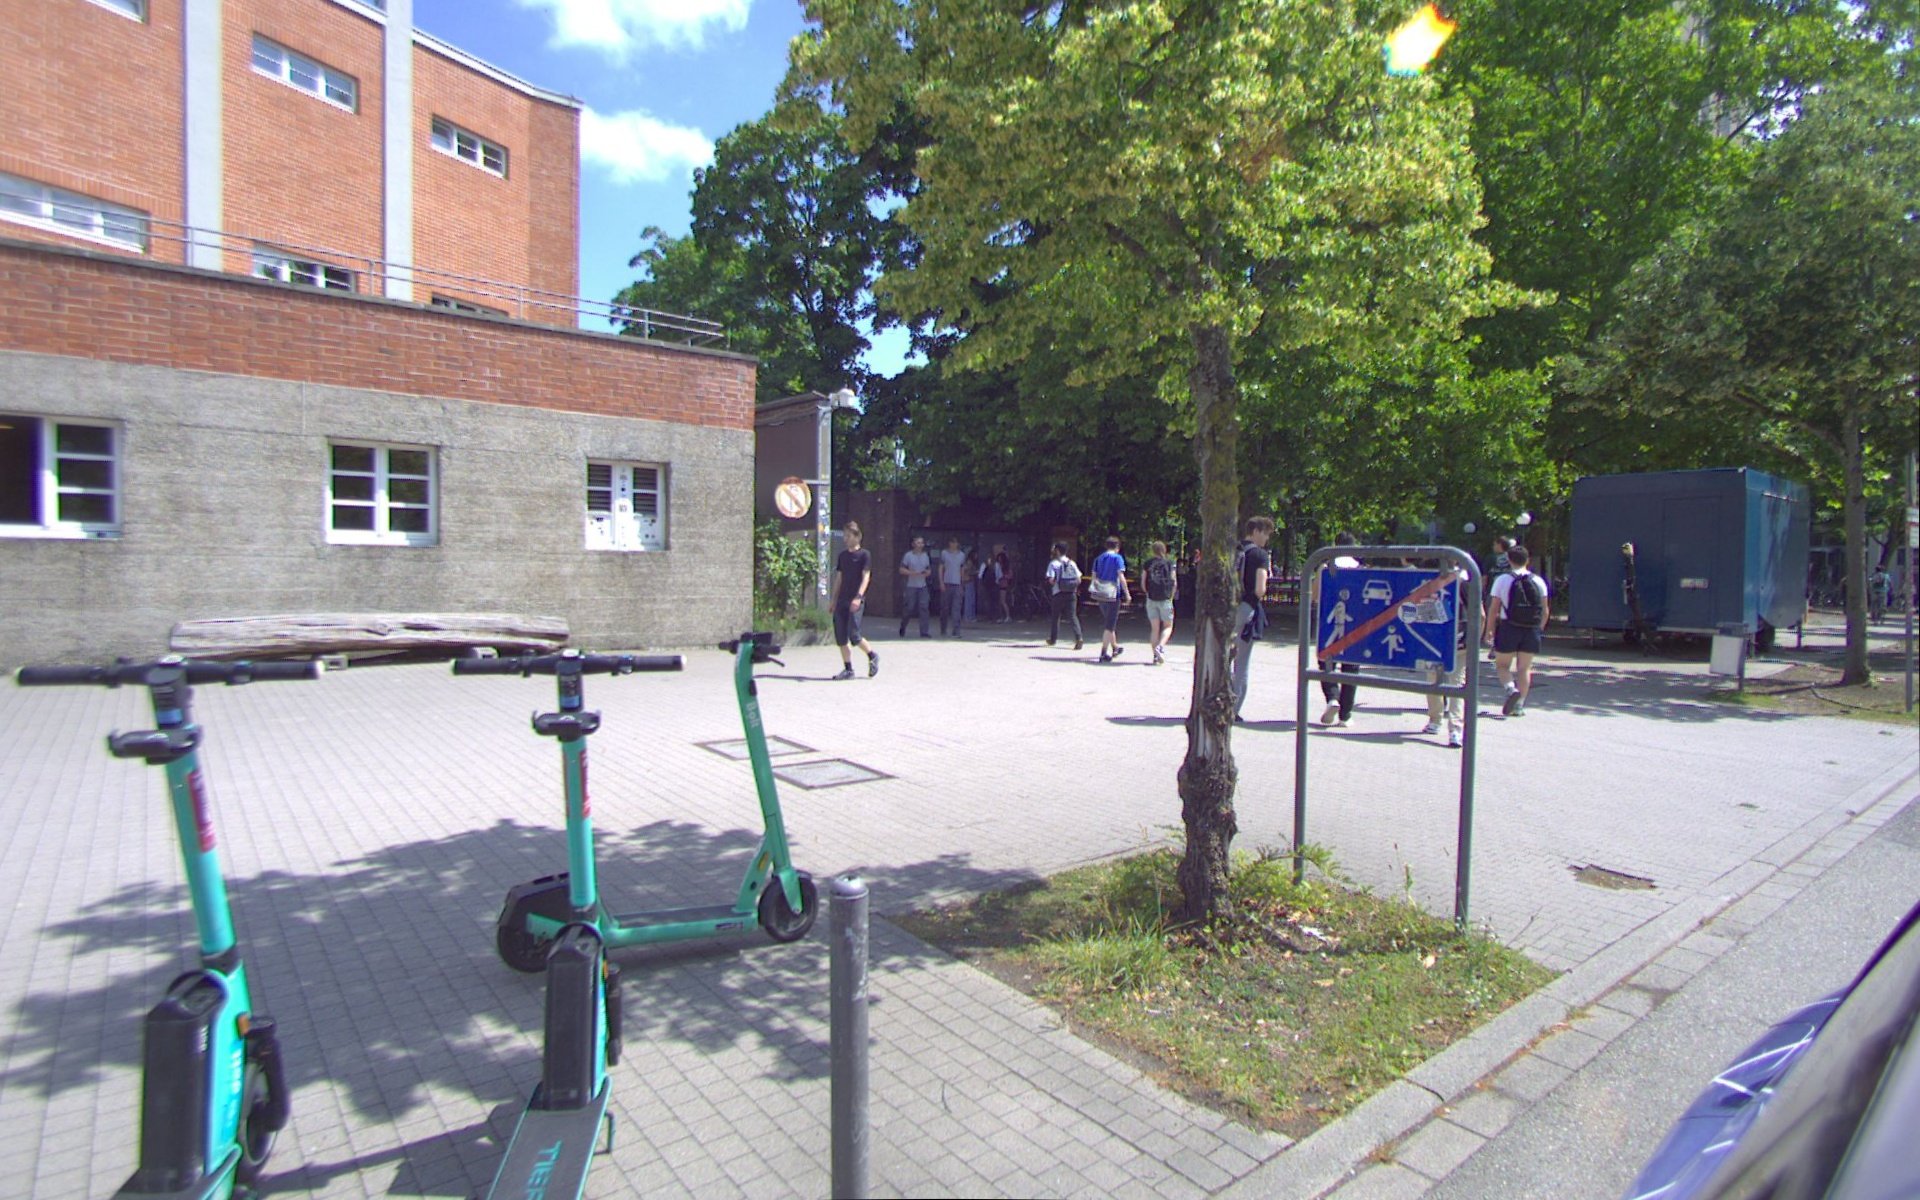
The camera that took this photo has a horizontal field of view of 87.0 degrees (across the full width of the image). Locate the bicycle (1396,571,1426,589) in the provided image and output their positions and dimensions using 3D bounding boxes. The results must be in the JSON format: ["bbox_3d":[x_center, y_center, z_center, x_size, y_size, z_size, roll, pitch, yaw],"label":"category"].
[{"bbox_3d":[27.728,-1.209,62.184,1.654,1.097,0.479,0,-1,-7],"label":"bicycle"}]

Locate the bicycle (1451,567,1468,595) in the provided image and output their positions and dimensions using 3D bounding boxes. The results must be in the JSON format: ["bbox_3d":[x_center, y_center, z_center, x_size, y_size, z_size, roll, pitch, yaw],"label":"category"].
[{"bbox_3d":[23.489,-0.907,47.594,0.527,1.267,1.719,4,3,30],"label":"bicycle"}]

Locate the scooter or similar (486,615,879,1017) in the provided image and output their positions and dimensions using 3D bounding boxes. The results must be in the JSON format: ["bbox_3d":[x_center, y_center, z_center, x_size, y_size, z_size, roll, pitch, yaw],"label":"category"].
[{"bbox_3d":[-0.990,0.661,3.596,1.238,1.174,0.652,0,2,-24],"label":"scooter or similar"}]

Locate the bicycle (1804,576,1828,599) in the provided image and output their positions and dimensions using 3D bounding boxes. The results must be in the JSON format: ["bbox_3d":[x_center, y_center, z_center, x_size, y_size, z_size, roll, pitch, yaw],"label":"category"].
[{"bbox_3d":[44.511,-0.643,52.612,1.663,1.099,0.482,2,2,-34],"label":"bicycle"}]

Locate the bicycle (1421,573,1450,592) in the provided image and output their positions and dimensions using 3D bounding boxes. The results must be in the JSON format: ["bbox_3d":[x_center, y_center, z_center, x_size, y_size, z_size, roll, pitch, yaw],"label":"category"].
[{"bbox_3d":[27.618,-0.988,58.792,1.444,1.097,0.352,0,-1,2],"label":"bicycle"}]

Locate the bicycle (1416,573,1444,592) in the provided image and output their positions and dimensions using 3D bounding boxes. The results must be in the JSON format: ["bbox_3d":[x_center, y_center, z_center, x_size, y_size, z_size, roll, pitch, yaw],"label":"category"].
[{"bbox_3d":[27.630,-1.034,59.515,1.444,1.097,0.352,0,-1,2],"label":"bicycle"}]

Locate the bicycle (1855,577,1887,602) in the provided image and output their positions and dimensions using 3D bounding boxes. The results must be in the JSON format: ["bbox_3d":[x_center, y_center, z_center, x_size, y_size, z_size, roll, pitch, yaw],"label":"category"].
[{"bbox_3d":[45.790,-0.526,50.861,1.494,1.155,0.493,2,2,-20],"label":"bicycle"}]

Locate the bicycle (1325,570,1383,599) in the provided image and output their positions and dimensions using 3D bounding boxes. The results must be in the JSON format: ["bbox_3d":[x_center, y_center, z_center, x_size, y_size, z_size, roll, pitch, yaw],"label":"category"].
[{"bbox_3d":[14.760,-0.607,37.938,1.945,0.991,0.606,3,3,32],"label":"bicycle"}]

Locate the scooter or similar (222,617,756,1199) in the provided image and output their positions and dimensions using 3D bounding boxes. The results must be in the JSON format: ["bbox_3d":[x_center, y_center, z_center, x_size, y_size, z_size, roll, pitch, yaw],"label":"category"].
[{"bbox_3d":[-0.799,0.713,2.085,0.637,1.280,1.267,1,2,-7],"label":"scooter or similar"}]

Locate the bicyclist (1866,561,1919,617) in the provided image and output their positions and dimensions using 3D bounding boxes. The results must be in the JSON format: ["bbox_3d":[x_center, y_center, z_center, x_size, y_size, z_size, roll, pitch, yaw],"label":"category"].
[{"bbox_3d":[27.537,-0.325,29.889,1.171,1.585,0.654,0,4,-25],"label":"bicyclist"}]

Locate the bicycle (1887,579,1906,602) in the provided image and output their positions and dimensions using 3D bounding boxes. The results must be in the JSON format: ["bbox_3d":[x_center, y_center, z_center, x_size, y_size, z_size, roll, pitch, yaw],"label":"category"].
[{"bbox_3d":[51.874,-0.538,56.048,1.798,1.257,0.531,-2,3,-40],"label":"bicycle"}]

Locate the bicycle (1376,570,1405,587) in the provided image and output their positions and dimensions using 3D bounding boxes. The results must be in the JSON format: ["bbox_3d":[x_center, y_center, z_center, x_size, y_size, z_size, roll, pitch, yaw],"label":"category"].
[{"bbox_3d":[27.640,-1.389,64.938,1.656,1.097,0.478,0,-1,0],"label":"bicycle"}]

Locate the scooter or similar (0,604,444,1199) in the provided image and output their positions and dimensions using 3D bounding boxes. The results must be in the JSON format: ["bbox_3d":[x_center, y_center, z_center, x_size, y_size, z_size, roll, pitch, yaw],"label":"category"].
[{"bbox_3d":[-1.463,0.679,1.738,0.637,1.280,1.267,1,2,-7],"label":"scooter or similar"}]

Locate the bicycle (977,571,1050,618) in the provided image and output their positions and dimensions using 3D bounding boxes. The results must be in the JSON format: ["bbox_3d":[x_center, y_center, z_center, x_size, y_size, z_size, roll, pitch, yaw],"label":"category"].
[{"bbox_3d":[1.328,-0.168,25.556,0.767,1.085,2.409,-1,2,-26],"label":"bicycle"}]

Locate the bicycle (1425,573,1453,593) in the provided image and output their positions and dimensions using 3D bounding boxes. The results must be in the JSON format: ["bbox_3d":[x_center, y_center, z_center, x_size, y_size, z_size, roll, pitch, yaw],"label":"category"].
[{"bbox_3d":[27.372,-0.971,57.806,1.442,1.097,0.353,0,-1,-5],"label":"bicycle"}]

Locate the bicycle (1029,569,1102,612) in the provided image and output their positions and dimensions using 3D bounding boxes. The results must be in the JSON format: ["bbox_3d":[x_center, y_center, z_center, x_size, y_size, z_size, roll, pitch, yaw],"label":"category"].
[{"bbox_3d":[2.776,-0.262,26.998,0.767,1.085,2.408,-1,1,-27],"label":"bicycle"}]

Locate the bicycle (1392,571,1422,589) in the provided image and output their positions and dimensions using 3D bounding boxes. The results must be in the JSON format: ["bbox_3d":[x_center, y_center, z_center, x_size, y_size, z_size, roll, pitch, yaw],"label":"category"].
[{"bbox_3d":[27.668,-1.244,62.666,1.654,1.097,0.479,0,-1,-7],"label":"bicycle"}]

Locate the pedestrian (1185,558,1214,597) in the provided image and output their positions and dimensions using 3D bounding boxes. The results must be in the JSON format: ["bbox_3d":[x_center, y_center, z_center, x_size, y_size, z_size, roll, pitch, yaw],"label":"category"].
[{"bbox_3d":[8.344,-0.783,35.264,0.612,1.286,0.667,0,4,-43],"label":"pedestrian"}]

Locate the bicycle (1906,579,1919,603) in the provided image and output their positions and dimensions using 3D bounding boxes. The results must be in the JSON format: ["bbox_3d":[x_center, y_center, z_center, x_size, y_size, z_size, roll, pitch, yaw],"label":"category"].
[{"bbox_3d":[46.866,-0.453,49.592,1.464,1.155,0.561,-1,4,-42],"label":"bicycle"}]

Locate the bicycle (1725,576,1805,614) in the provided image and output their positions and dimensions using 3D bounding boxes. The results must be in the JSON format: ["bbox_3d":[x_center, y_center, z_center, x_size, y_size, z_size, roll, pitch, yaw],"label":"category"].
[{"bbox_3d":[26.406,-0.180,33.221,2.012,1.181,0.642,3,2,40],"label":"bicycle"}]

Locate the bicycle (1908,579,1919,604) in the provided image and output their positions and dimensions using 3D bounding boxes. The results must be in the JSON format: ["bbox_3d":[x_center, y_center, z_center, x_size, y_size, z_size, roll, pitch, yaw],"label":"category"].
[{"bbox_3d":[46.702,-0.384,48.617,1.750,1.155,0.607,1,3,-6],"label":"bicycle"}]

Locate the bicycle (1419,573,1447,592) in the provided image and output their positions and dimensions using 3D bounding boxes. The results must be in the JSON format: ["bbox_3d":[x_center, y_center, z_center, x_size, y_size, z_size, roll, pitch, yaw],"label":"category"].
[{"bbox_3d":[27.621,-1.011,59.149,1.444,1.097,0.352,0,-1,2],"label":"bicycle"}]

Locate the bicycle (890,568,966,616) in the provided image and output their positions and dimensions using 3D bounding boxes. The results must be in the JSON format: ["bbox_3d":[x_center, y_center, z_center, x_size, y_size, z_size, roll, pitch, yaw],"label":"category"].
[{"bbox_3d":[-0.794,-0.212,25.575,1.990,1.154,0.575,-1,2,-40],"label":"bicycle"}]

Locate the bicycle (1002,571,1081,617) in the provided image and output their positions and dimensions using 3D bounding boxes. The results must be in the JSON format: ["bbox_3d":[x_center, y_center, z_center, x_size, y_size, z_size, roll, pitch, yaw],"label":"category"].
[{"bbox_3d":[2.065,-0.186,26.067,0.767,1.085,2.406,-1,3,-32],"label":"bicycle"}]

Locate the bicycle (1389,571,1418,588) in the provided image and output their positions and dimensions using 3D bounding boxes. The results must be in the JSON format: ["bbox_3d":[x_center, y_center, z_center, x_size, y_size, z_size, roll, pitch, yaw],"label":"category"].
[{"bbox_3d":[27.819,-1.289,63.495,1.654,1.097,0.479,0,-1,-7],"label":"bicycle"}]

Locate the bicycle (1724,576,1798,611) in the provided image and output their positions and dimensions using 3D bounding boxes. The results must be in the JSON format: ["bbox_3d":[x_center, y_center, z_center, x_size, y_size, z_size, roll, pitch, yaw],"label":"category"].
[{"bbox_3d":[27.297,-0.228,34.513,1.941,1.095,0.399,3,2,40],"label":"bicycle"}]

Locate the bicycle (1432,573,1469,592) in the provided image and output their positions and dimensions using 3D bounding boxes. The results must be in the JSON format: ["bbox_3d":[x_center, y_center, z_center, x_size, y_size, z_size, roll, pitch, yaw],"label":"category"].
[{"bbox_3d":[27.123,-0.994,56.013,1.770,0.991,0.378,2,2,5],"label":"bicycle"}]

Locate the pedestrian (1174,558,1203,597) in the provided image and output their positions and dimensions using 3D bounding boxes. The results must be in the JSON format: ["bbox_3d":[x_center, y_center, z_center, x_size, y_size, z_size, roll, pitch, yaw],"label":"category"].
[{"bbox_3d":[7.810,-0.771,34.590,0.612,1.286,0.667,0,4,-43],"label":"pedestrian"}]

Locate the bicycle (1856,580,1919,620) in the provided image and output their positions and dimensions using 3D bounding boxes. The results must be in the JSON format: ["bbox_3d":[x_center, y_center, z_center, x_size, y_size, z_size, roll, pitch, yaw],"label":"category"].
[{"bbox_3d":[27.527,-0.007,29.904,2.249,1.137,0.654,0,4,-25],"label":"bicycle"}]

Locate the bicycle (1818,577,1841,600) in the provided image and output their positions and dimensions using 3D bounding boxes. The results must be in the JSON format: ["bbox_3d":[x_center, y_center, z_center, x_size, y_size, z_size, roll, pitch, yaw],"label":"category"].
[{"bbox_3d":[45.034,-0.599,52.408,1.486,1.099,0.482,2,2,-34],"label":"bicycle"}]

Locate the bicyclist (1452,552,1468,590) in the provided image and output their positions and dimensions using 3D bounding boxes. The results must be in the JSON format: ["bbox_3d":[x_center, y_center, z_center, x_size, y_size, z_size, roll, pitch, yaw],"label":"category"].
[{"bbox_3d":[23.497,-1.370,47.581,0.527,1.750,1.067,4,3,30],"label":"bicyclist"}]

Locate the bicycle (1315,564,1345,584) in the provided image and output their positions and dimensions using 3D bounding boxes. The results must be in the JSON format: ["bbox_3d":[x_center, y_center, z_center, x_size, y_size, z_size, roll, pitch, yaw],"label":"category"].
[{"bbox_3d":[21.947,-1.544,59.983,1.581,1.107,0.348,2,2,2],"label":"bicycle"}]
